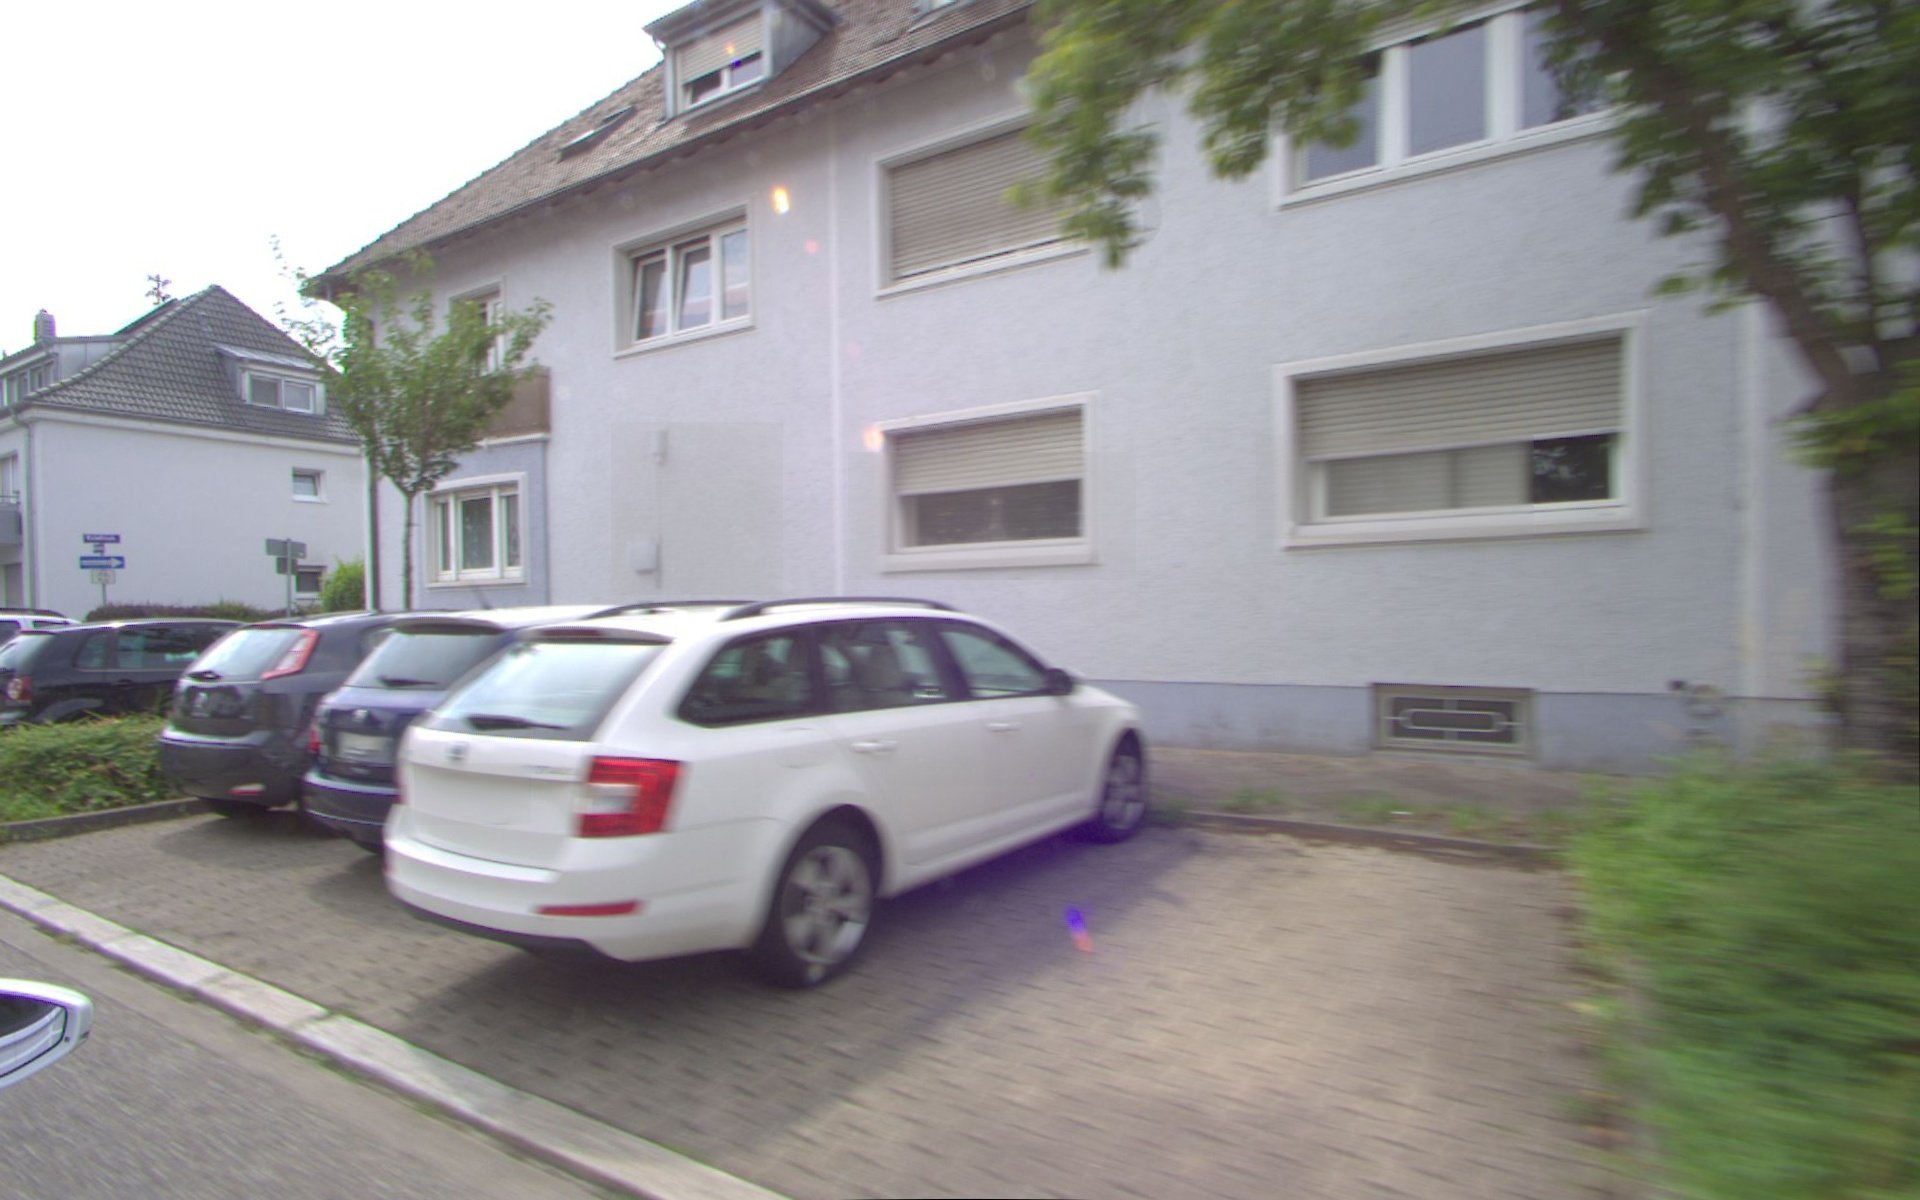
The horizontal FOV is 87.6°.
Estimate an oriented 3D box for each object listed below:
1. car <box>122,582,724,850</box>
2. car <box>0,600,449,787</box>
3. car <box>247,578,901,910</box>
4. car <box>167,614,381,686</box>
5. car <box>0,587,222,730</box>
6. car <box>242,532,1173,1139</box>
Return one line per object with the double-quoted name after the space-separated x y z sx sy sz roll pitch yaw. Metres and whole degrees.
-4.009 0.689 8.173 1.688 1.528 3.976 -1 2 32 "car"
-7.817 0.809 10.566 1.688 1.441 3.976 -1 2 32 "car"
-2.279 0.676 6.962 1.688 1.528 3.976 -1 2 32 "car"
-15.924 1.100 23.434 1.640 1.462 3.793 -1 0 33 "car"
-12.130 0.742 12.787 1.842 1.655 3.912 -1 2 33 "car"
-0.644 0.585 5.202 1.866 1.686 4.601 -1 2 33 "car"
